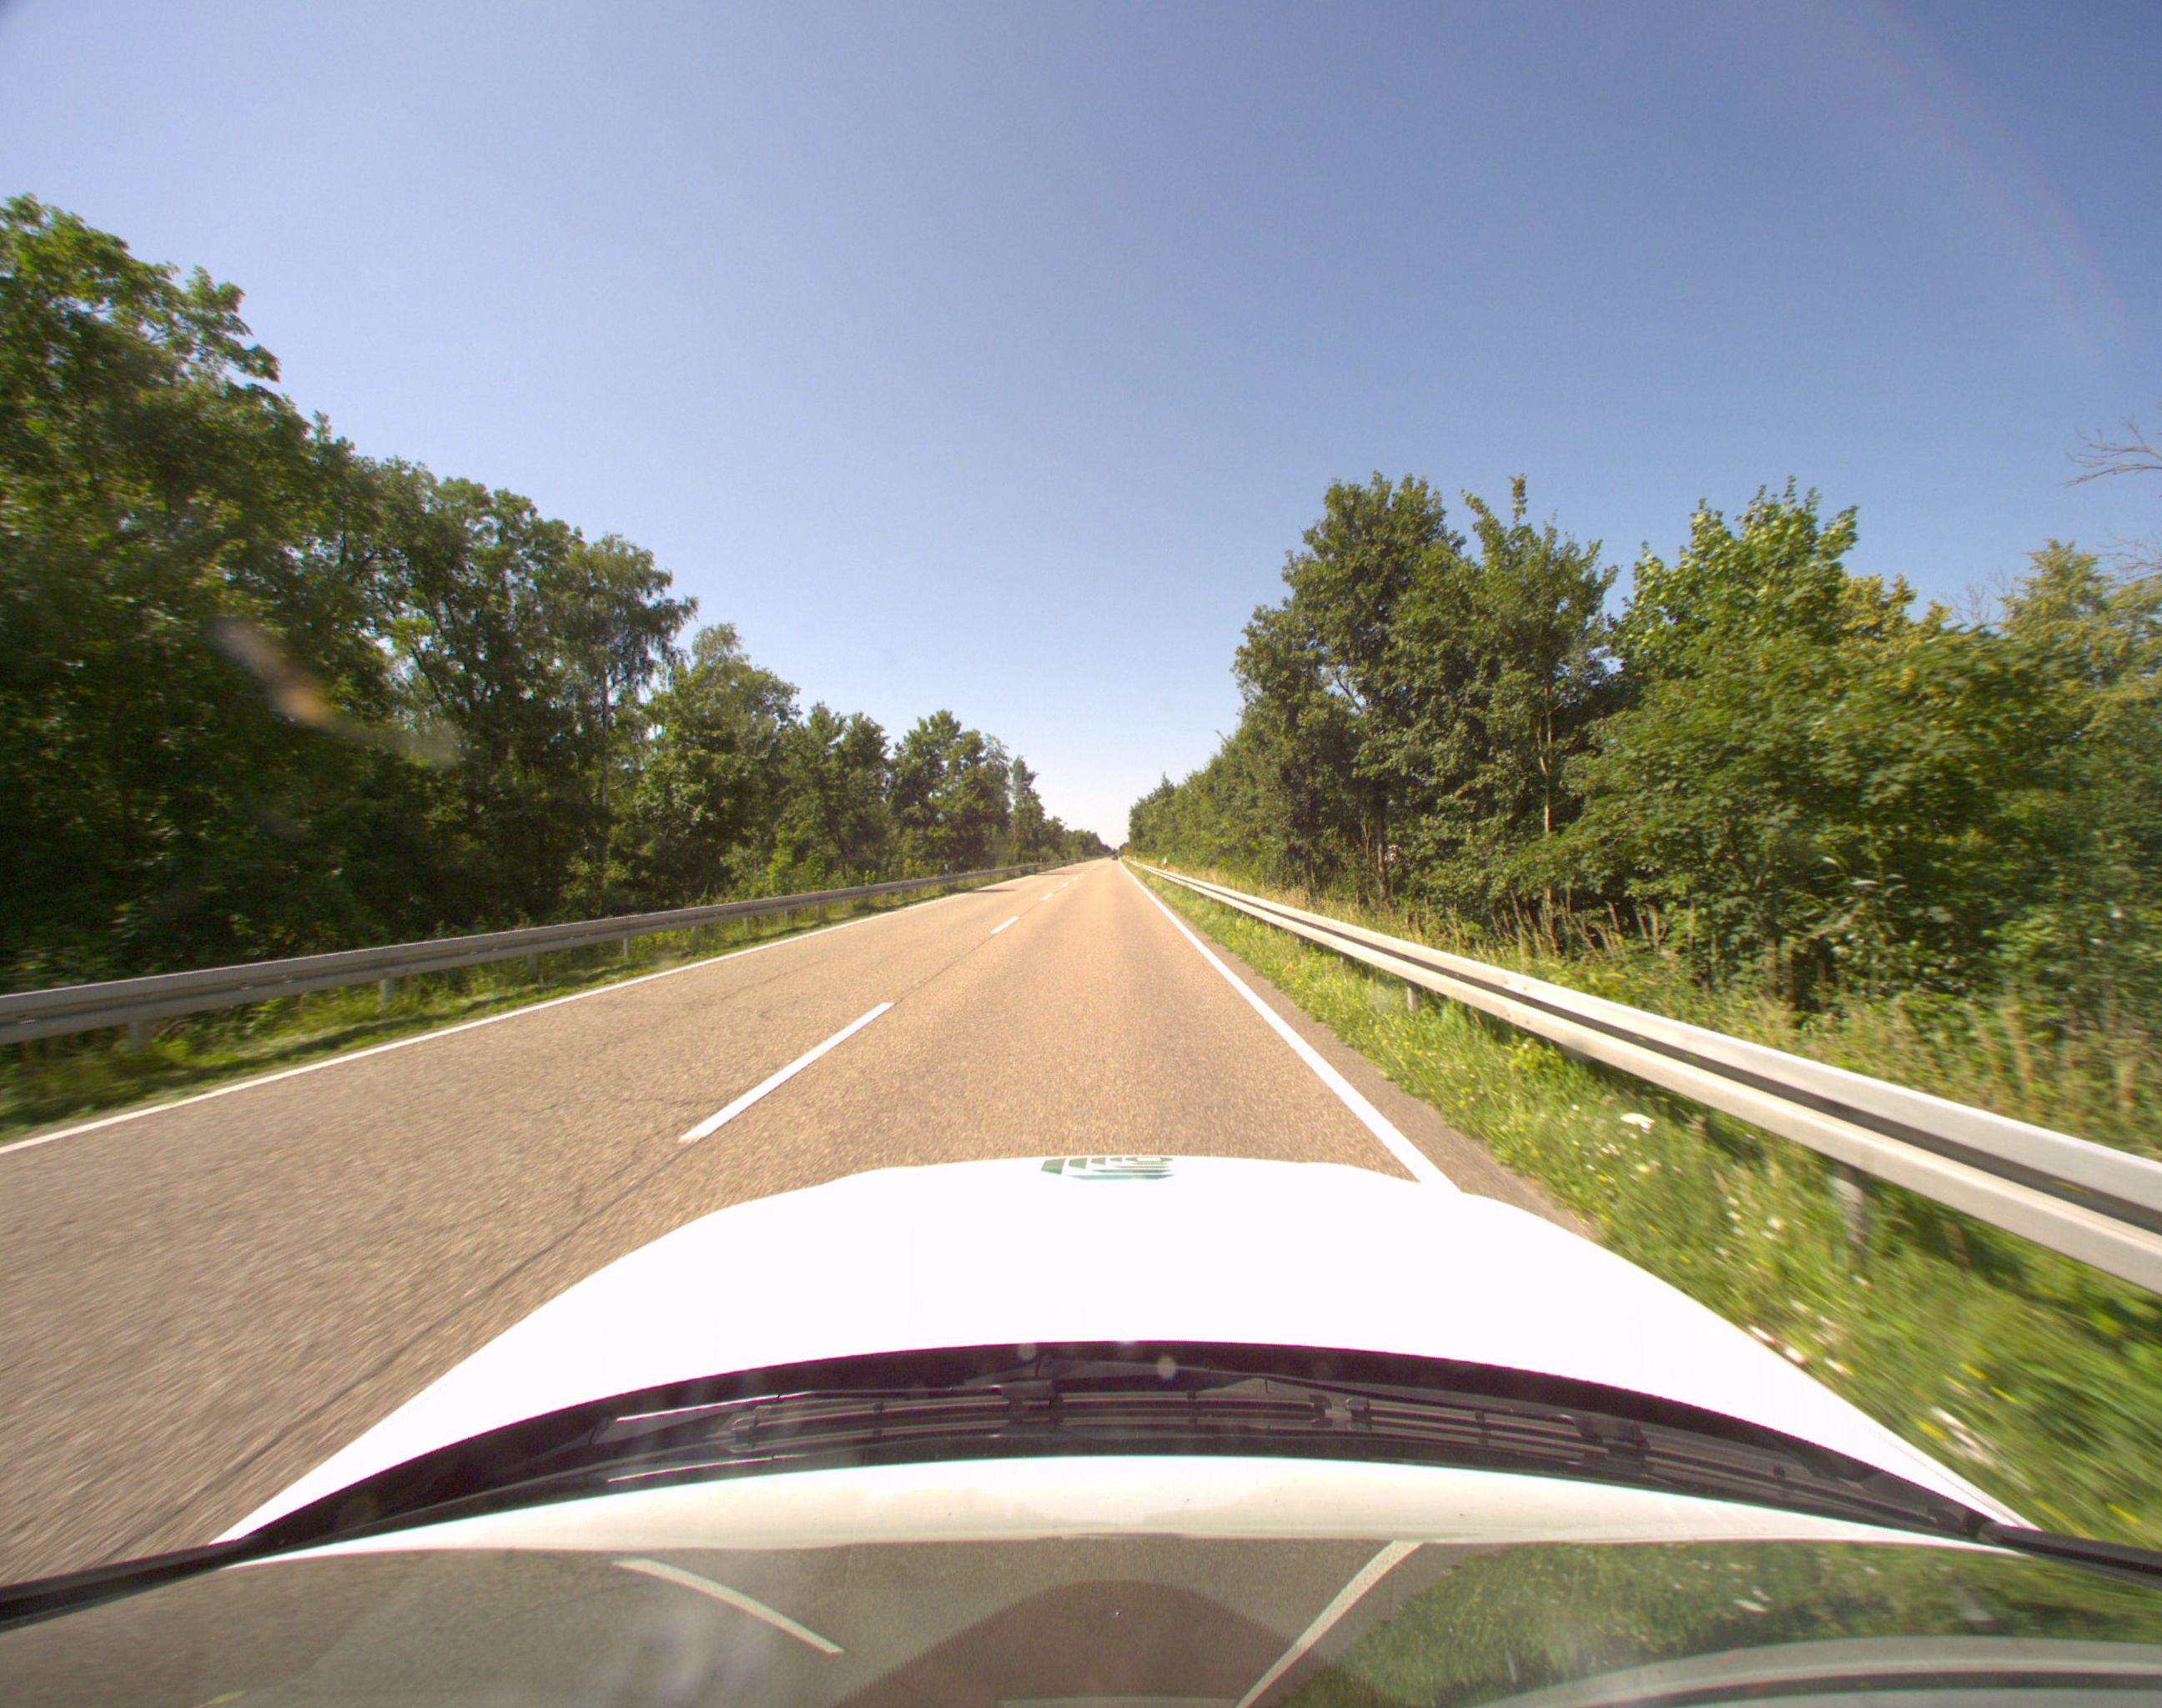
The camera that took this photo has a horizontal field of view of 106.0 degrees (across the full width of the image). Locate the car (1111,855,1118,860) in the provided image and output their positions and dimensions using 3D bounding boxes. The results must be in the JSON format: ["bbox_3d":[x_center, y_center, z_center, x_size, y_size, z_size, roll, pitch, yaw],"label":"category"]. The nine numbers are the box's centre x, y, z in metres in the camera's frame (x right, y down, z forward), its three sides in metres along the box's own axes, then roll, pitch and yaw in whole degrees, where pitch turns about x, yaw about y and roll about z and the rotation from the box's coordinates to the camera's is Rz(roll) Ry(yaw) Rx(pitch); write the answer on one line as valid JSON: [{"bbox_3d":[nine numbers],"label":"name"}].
[{"bbox_3d":[9.531,1.081,232.547,1.733,1.470,3.696,-1,0,4],"label":"car"}]
